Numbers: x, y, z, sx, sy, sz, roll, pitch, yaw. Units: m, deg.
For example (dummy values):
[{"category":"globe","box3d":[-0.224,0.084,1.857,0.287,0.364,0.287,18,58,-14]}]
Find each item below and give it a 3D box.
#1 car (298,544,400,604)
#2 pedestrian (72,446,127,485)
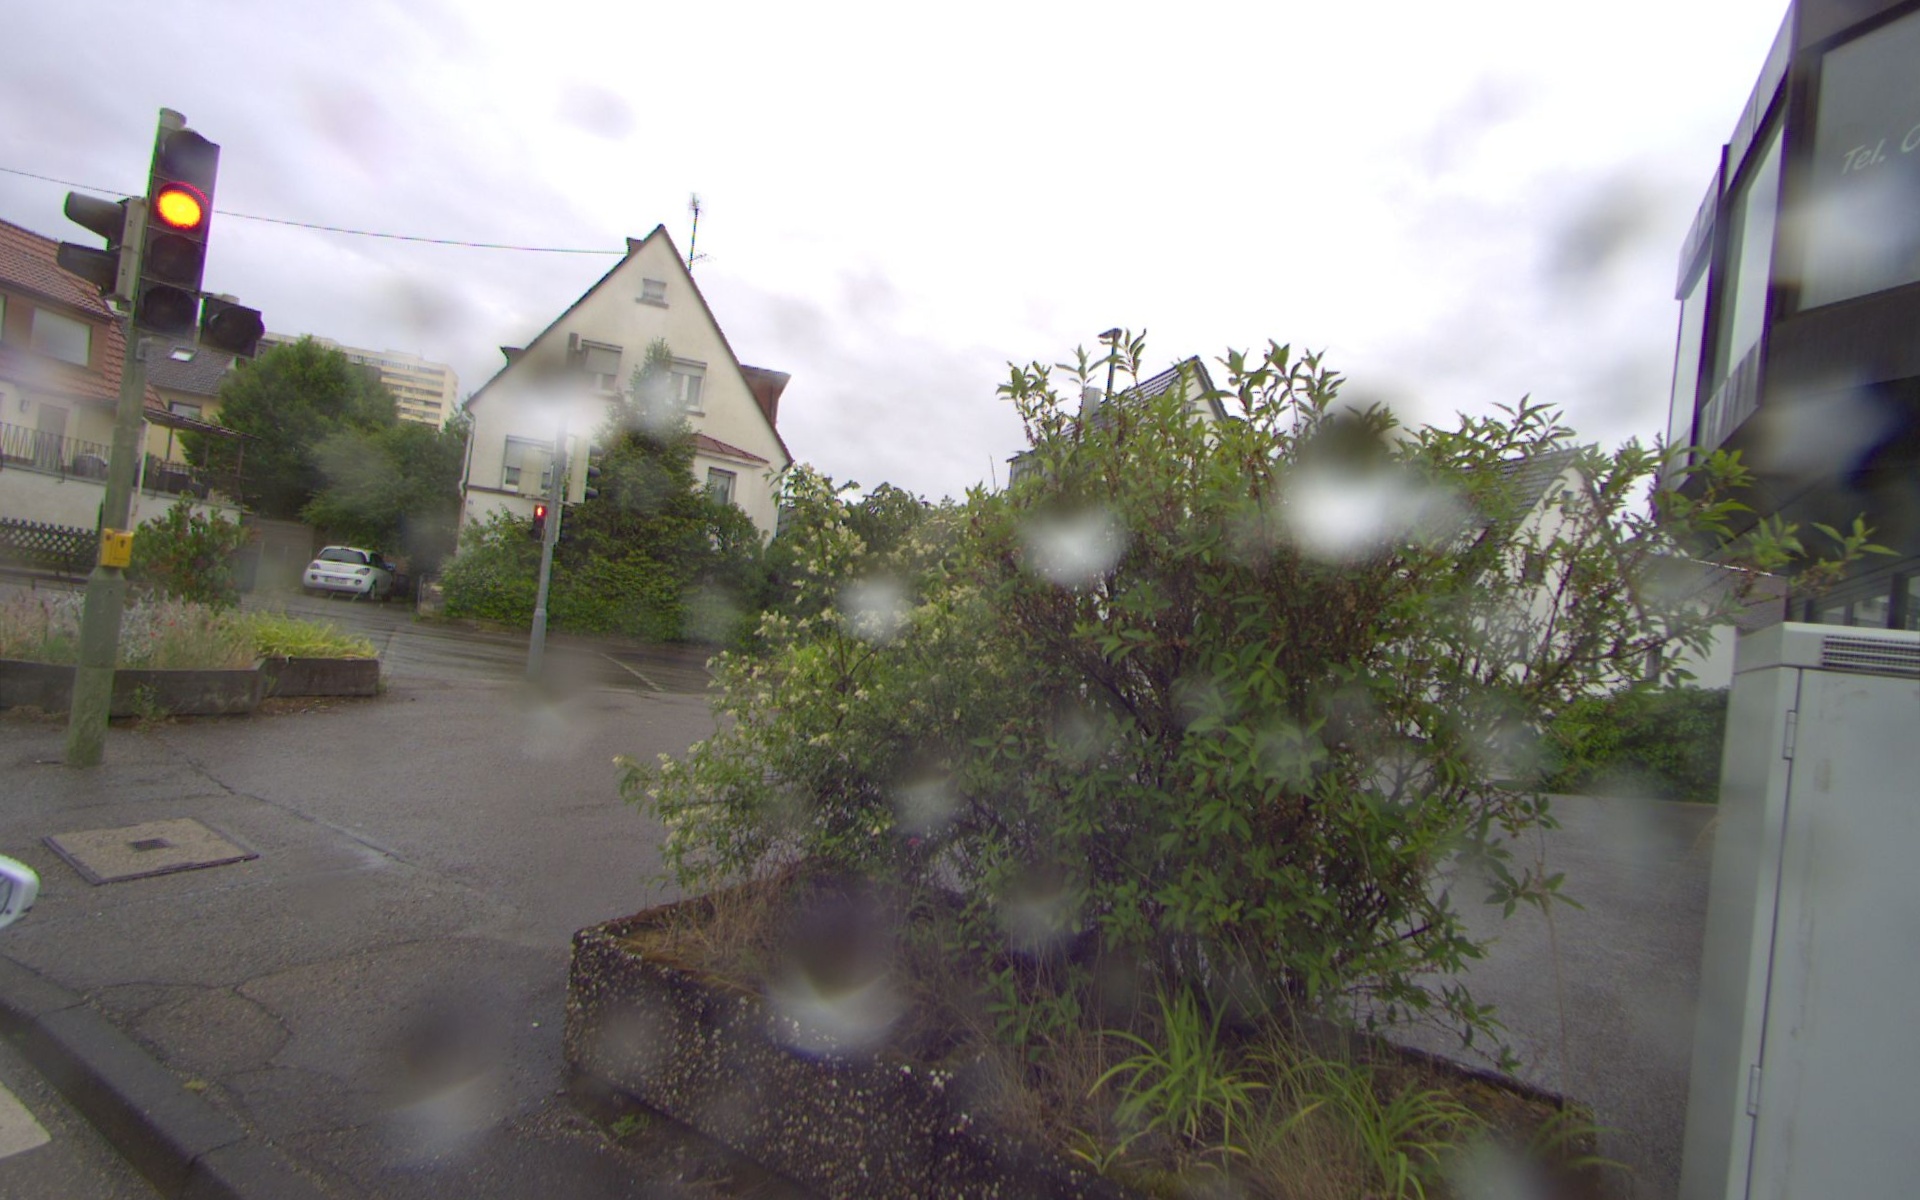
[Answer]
[{"category":"car","box3d":[-17.746,-0.730,29.417,1.794,1.378,3.981,8,-2,-22]},{"category":"pedestrian","box3d":[-24.262,-3.787,28.368,0.623,0.893,0.920,5,-2,13]}]
